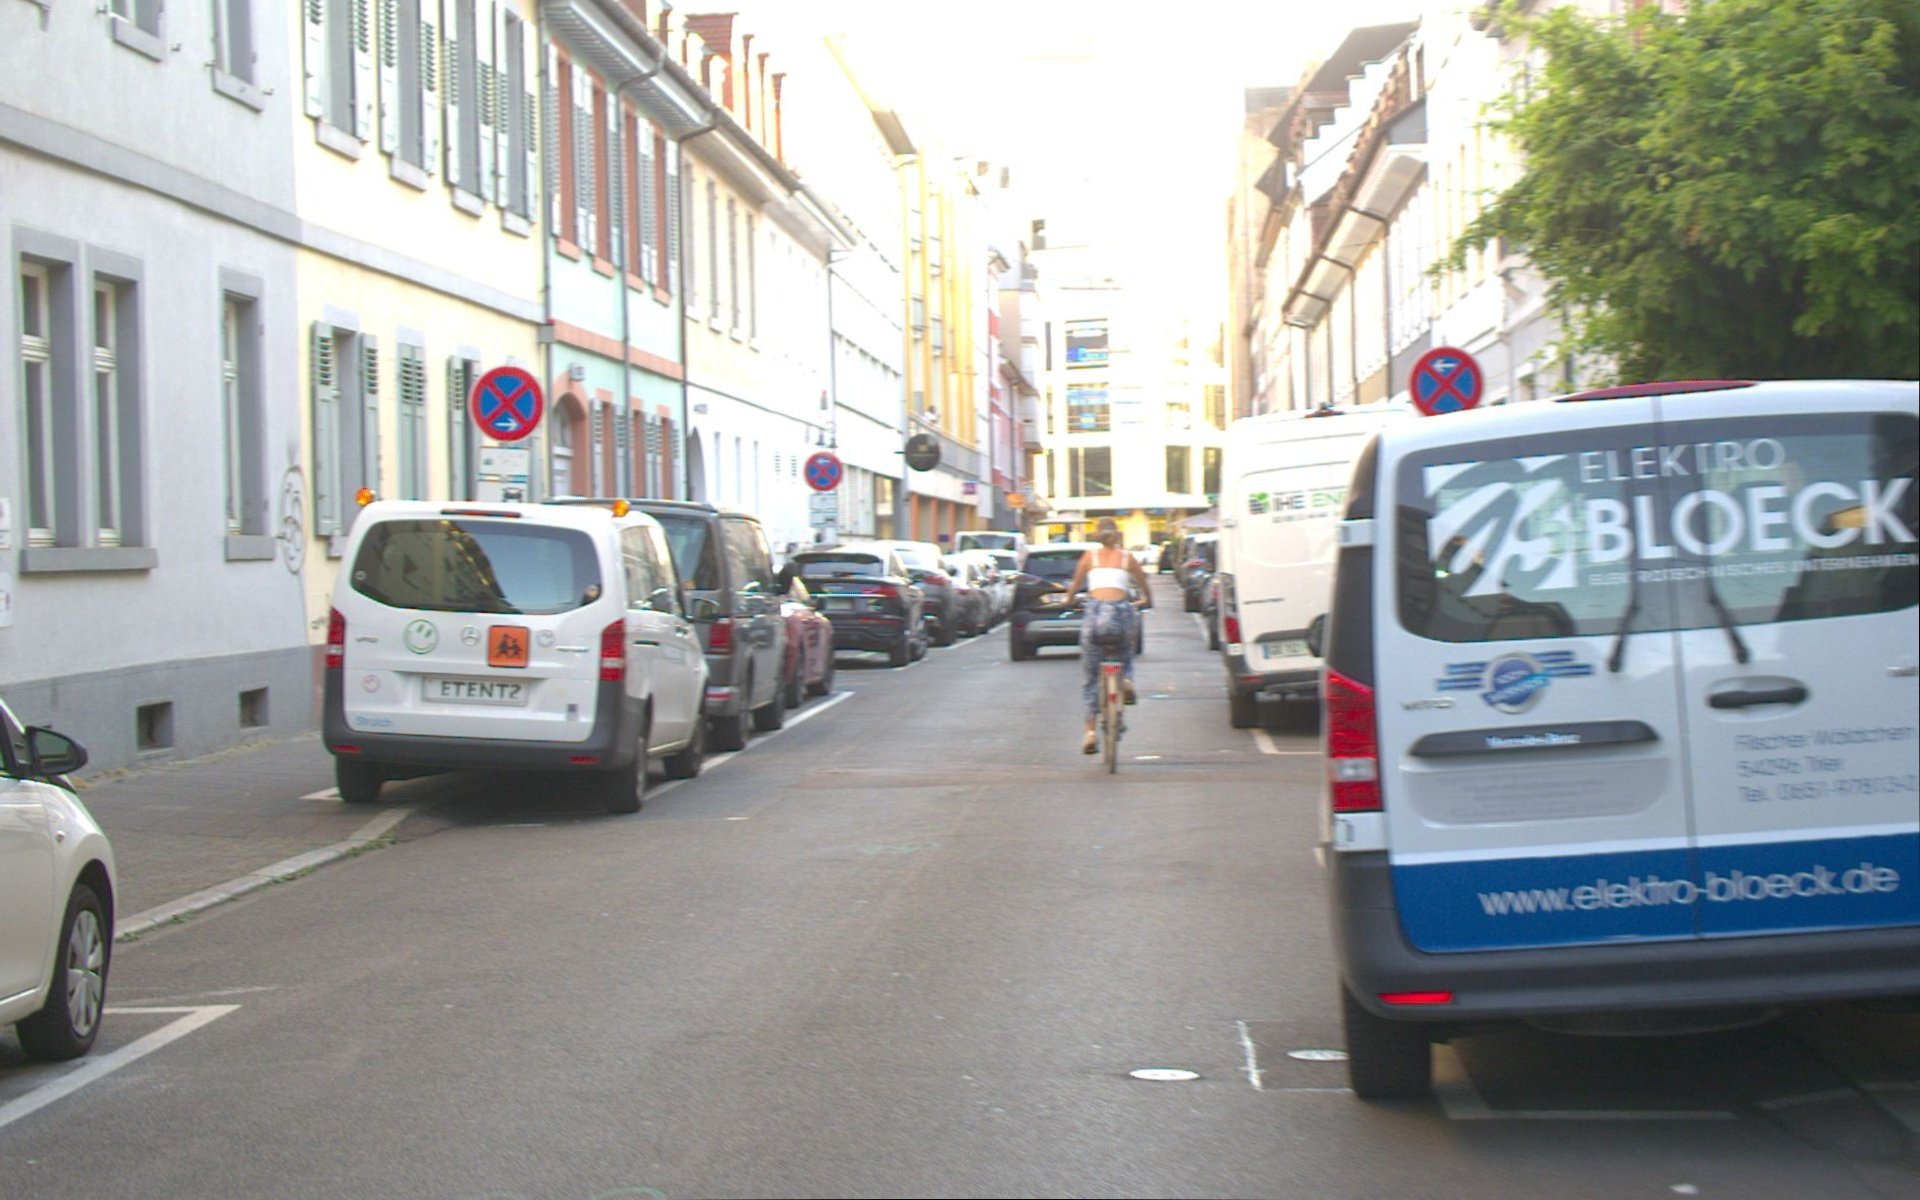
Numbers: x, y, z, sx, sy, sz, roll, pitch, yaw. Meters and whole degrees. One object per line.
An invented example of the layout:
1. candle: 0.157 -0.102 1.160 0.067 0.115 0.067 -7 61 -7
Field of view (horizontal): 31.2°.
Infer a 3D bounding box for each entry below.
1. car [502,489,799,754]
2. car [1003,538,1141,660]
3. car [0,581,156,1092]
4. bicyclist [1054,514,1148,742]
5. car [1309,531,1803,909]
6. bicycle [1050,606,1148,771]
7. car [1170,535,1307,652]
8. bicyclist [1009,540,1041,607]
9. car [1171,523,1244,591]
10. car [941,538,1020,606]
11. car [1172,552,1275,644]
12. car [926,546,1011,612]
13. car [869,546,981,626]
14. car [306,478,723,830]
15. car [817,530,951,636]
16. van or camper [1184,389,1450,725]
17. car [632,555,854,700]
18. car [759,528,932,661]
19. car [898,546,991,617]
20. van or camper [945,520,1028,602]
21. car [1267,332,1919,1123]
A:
1. car: -2.502 0.120 28.947 1.862 2.007 4.814 -1 1 2
2. car: 1.581 -0.046 47.558 1.819 1.612 4.000 0 1 3
3. car: -3.595 0.675 9.616 1.662 1.444 3.520 2 1 3
4. bicyclist: 0.992 0.189 24.139 0.621 1.569 0.683 -1 1 4
5. car: 2.607 0.452 15.828 1.655 1.500 3.754 -1 1 1
6. bicycle: 0.989 0.599 24.102 0.613 1.078 1.809 -1 1 4
7. car: 4.137 -0.130 51.094 1.820 1.525 5.070 -4 1 5
8. bicyclist: 1.335 -0.541 70.542 0.606 1.365 0.621 -1 1 5
9. car: 5.767 -1.014 80.494 1.653 1.555 3.605 0 1 4
10. car: 0.512 -0.680 80.618 1.653 1.555 3.605 0 1 4
11. car: 4.432 -0.067 58.253 1.676 1.481 4.000 0 1 3
12. car: 0.200 -0.481 75.562 1.653 1.406 3.605 0 1 4
13. car: -0.613 -0.285 64.047 1.918 1.429 4.293 0 1 2
14. car: -2.760 0.265 22.487 1.862 2.007 5.106 -1 1 2
15. car: -1.229 -0.316 57.678 1.998 1.701 4.535 0 1 2
16. van or camper: 3.097 -0.412 30.903 2.050 2.628 7.062 -1 1 4
17. car: -2.204 0.247 35.930 1.765 1.397 4.262 -1 1 4
18. car: -1.494 -0.109 46.557 1.803 1.671 4.489 -1 1 5
19. car: -0.295 -0.396 70.583 1.653 1.406 3.902 0 1 4
20. van or camper: 0.688 -1.000 86.462 1.844 2.006 4.678 0 1 3
21. car: 2.040 0.261 10.948 1.936 1.891 5.275 -1 1 7
